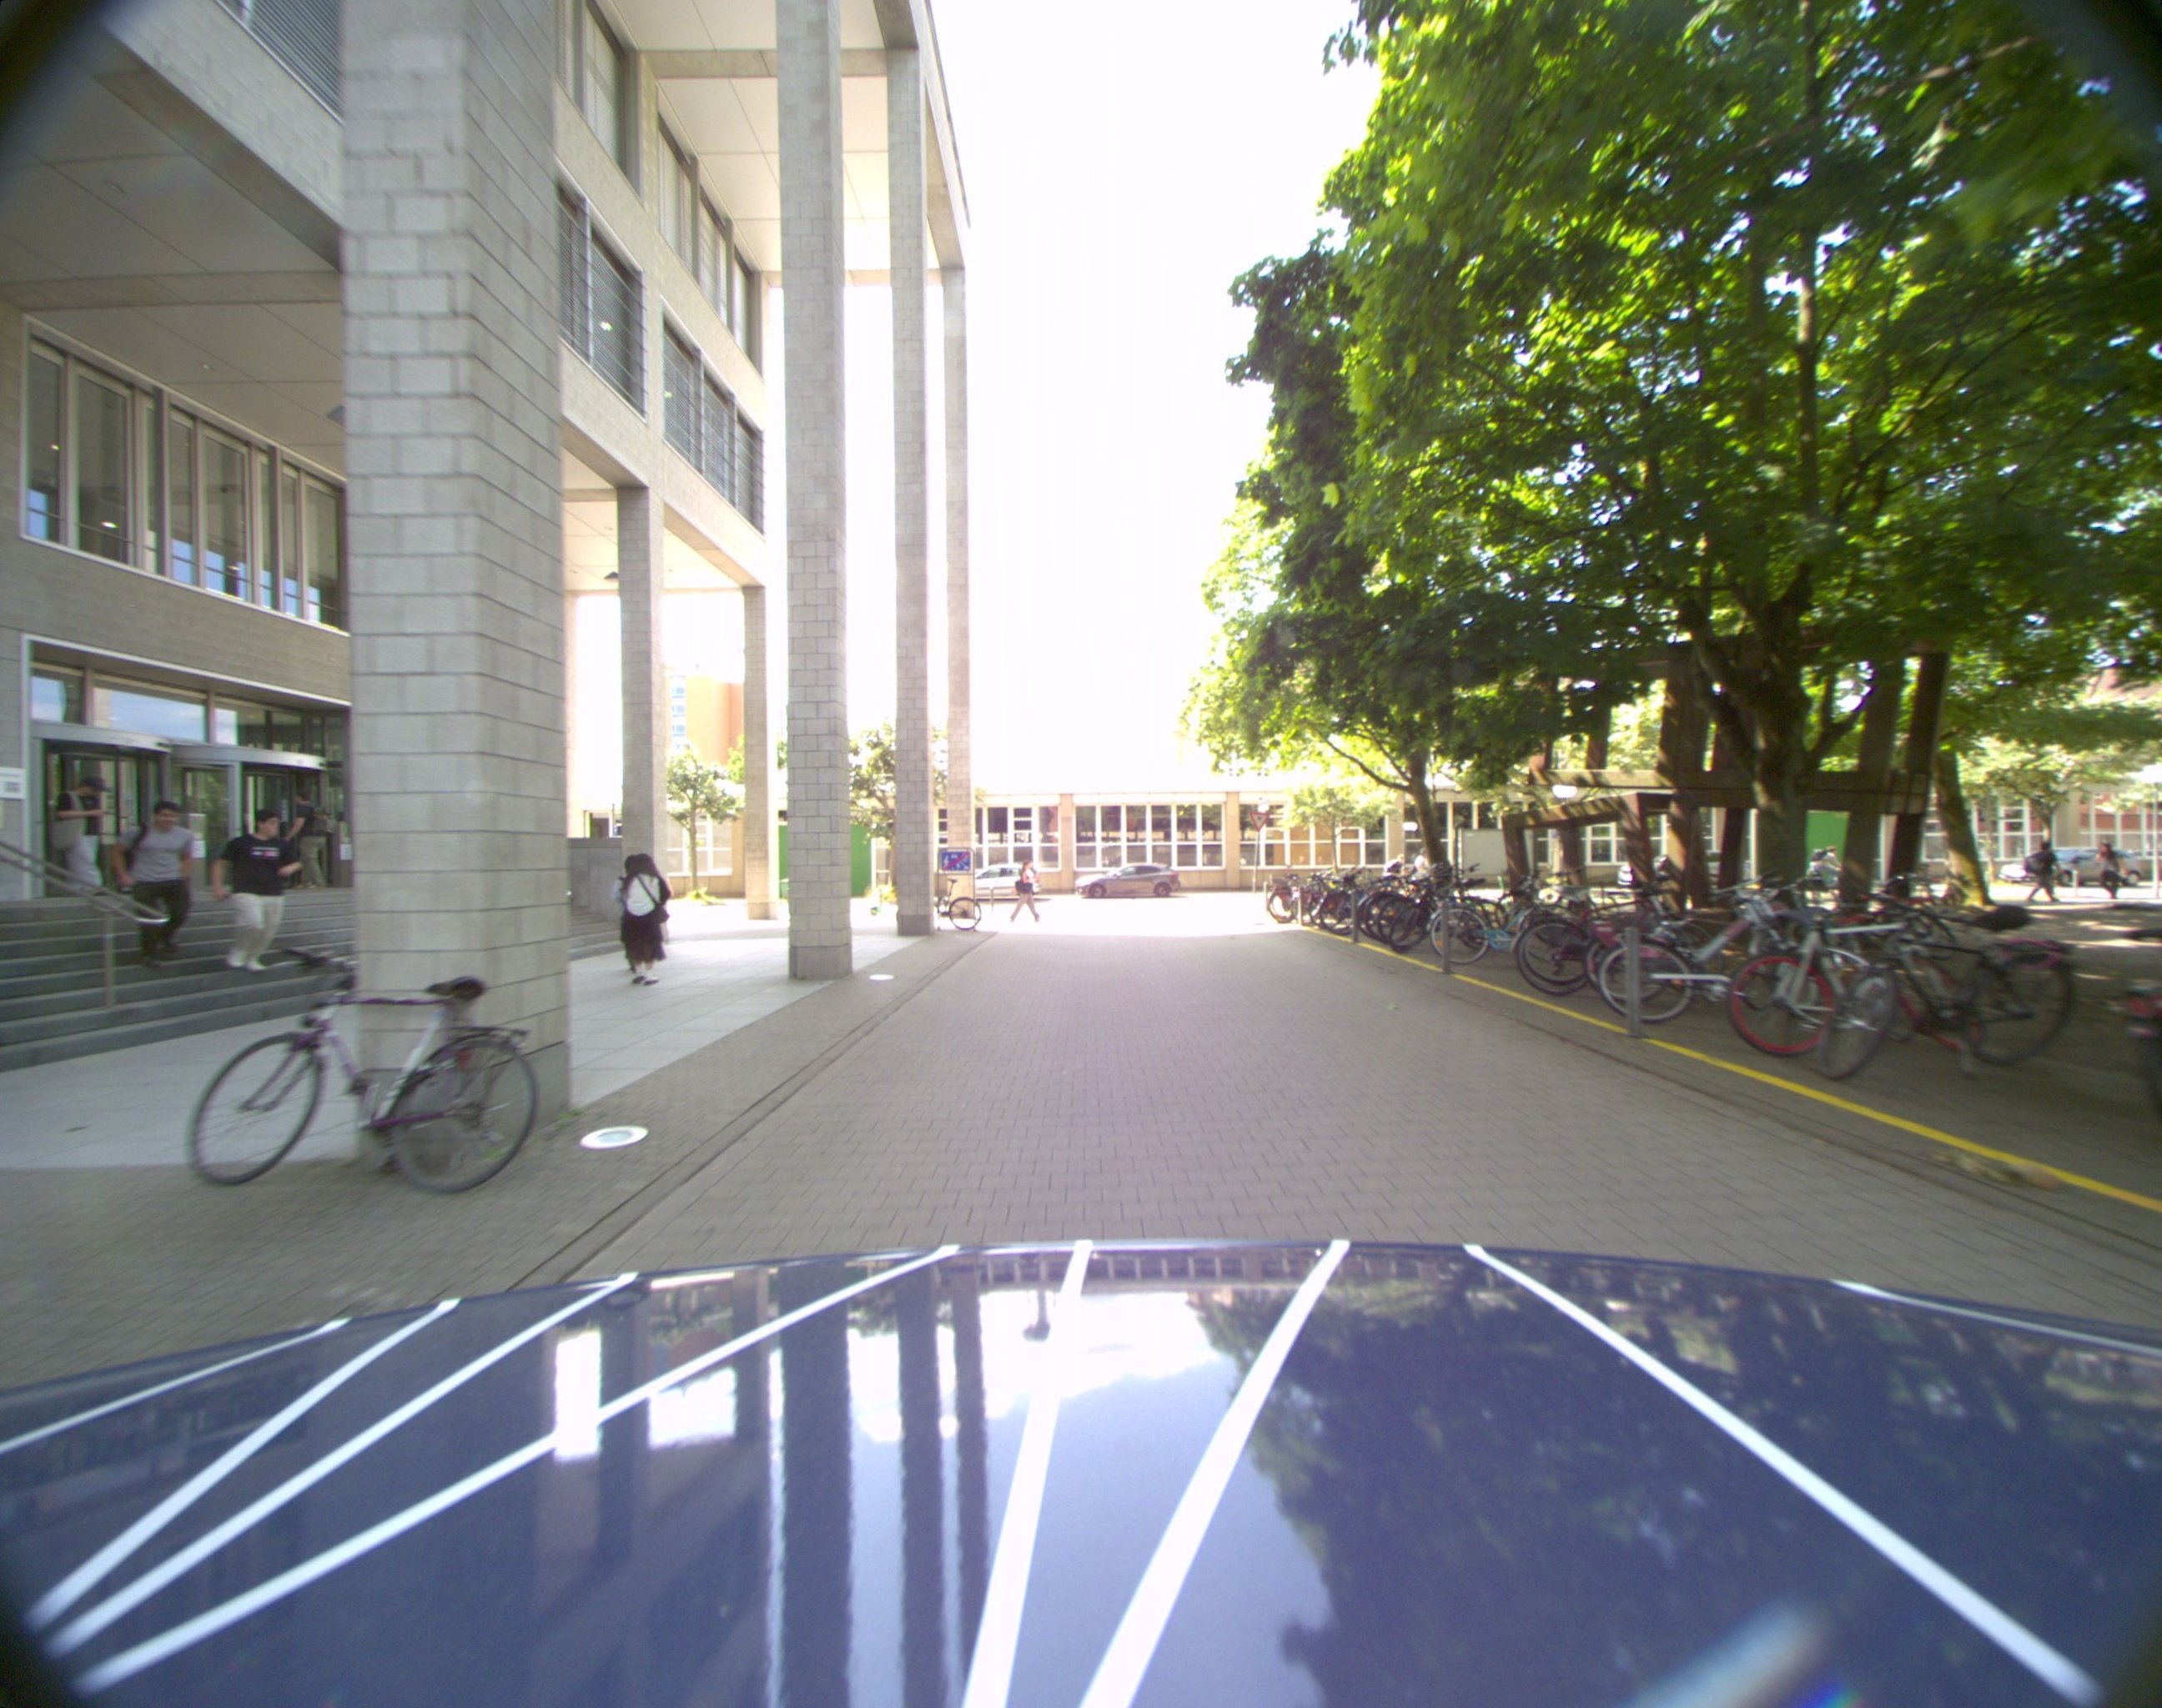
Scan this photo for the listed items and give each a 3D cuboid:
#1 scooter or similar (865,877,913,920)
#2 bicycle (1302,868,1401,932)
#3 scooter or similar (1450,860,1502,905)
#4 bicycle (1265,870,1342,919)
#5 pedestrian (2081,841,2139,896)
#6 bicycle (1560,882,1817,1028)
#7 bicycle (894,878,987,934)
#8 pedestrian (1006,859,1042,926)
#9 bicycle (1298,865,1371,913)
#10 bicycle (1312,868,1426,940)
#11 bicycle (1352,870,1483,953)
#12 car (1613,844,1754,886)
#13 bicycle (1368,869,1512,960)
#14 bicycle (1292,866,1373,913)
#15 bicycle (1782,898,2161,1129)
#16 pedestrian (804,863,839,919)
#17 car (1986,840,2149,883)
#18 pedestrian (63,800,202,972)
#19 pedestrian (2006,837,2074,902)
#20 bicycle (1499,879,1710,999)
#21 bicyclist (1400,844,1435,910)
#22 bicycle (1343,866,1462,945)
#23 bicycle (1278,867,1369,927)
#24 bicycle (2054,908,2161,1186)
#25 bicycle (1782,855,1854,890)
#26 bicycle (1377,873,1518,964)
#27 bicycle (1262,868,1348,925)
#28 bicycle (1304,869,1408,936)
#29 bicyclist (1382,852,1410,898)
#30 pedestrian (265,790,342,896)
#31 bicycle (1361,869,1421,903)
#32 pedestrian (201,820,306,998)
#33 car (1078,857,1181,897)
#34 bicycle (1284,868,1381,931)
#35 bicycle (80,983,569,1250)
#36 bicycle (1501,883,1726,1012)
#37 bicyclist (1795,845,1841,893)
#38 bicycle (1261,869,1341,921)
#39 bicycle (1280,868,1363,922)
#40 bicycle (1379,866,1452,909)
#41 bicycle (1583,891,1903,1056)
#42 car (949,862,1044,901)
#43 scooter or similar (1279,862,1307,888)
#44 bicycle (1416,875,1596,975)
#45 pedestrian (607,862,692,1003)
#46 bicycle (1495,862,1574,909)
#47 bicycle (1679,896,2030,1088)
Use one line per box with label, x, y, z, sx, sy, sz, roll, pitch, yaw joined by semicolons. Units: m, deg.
scooter or similar;-5.216;1.209;20.689;1.157;1.144;0.444;-1;0;5
bicycle;4.977;0.849;14.025;1.628;1.101;0.506;-2;1;5
scooter or similar;10.642;0.774;20.492;1.182;1.188;0.293;-1;0;36
bicycle;5.217;0.938;17.876;1.628;1.101;0.497;-1;-1;0
pedestrian;28.846;0.398;21.306;0.840;1.511;0.571;-2;1;1
bicycle;5.091;0.837;6.459;1.627;1.137;0.497;-2;1;14
bicycle;-2.964;1.108;16.203;1.886;1.157;0.605;0;0;-4
pedestrian;-1.447;0.961;19.343;0.882;1.645;0.702;-1;0;-4
bicycle;6.328;0.881;18.981;1.625;1.152;0.641;-2;-2;29
bicycle;4.805;0.826;12.758;1.628;1.101;0.691;-2;1;6
bicycle;4.938;0.824;11.204;1.629;1.101;0.645;-2;1;-4
car;25.396;0.440;32.136;4.536;1.608;1.837;-1;2;-1
bicycle;4.978;0.821;10.568;1.784;1.155;0.497;-2;1;-4
bicycle;6.068;0.867;18.371;1.742;1.101;0.591;-2;-2;29
bicycle;5.048;0.861;4.314;1.740;1.120;0.497;-2;1;-4
pedestrian;-7.501;1.064;21.989;0.820;1.565;0.880;-1;0;-11
car;41.092;0.311;31.718;4.536;1.624;1.838;-1;0;-1
pedestrian;-9.697;0.311;7.777;0.880;1.645;0.704;-1;0;27
pedestrian;25.283;0.394;20.044;0.874;1.674;0.728;-1;0;-3
bicycle;5.173;0.838;7.606;1.627;1.101;0.563;-2;1;14
bicyclist;9.827;0.658;22.207;0.866;1.881;0.806;0;3;18
bicycle;5.048;0.800;11.971;1.628;1.144;0.497;-2;1;1
bicycle;4.814;0.853;15.160;1.628;1.101;0.497;-2;1;5
bicycle;5.444;0.855;3.658;1.742;1.101;0.496;-2;1;-23
bicycle;24.483;0.608;25.241;1.818;1.102;0.640;-1;2;-3
bicycle;4.846;0.836;10.074;1.629;1.101;0.497;-2;1;-4
bicycle;4.620;0.868;15.733;1.628;1.101;0.497;-2;1;5
bicycle;4.855;0.849;13.479;1.628;1.101;0.497;-2;1;5
bicyclist;10.794;0.701;26.061;0.727;1.526;0.605;-1;2;2
pedestrian;-13.548;-0.187;13.252;0.684;1.792;0.590;-1;0;0
bicycle;10.638;1.096;26.091;1.829;1.102;0.605;-1;2;2
pedestrian;-8.920;0.561;8.192;0.880;1.792;0.704;-1;0;40
car;2.020;0.959;32.356;4.208;1.468;1.653;-2;2;0
bicycle;4.810;0.865;14.597;1.628;1.101;0.629;-2;1;5
bicycle;-3.436;1.173;3.543;1.743;1.033;0.449;-1;-1;-4
bicycle;4.892;0.855;7.073;1.627;1.101;0.497;-2;1;14
bicyclist;24.472;0.500;25.231;0.874;1.565;0.640;-1;2;-3
bicycle;4.904;0.909;16.985;1.628;1.101;0.497;-1;-1;0
bicycle;5.109;0.873;16.205;1.627;1.101;0.497;-2;-1;12
bicycle;9.757;0.966;22.256;1.882;1.165;0.806;0;2;18
bicycle;4.943;0.865;5.808;1.737;1.101;0.575;-2;1;20
car;-3.533;1.147;32.298;3.776;1.468;1.653;-1;2;1
scooter or similar;9.798;0.970;35.121;1.157;1.219;0.290;-1;0;4
bicycle;5.041;0.838;9.112;1.724;1.101;0.719;-2;1;11
pedestrian;-5.261;0.907;9.258;0.809;1.608;0.739;-1;1;-35
bicycle;11.452;0.790;19.200;1.839;1.101;0.393;-2;1;-6
bicycle;4.967;0.867;4.935;1.739;1.101;0.497;-2;1;1
